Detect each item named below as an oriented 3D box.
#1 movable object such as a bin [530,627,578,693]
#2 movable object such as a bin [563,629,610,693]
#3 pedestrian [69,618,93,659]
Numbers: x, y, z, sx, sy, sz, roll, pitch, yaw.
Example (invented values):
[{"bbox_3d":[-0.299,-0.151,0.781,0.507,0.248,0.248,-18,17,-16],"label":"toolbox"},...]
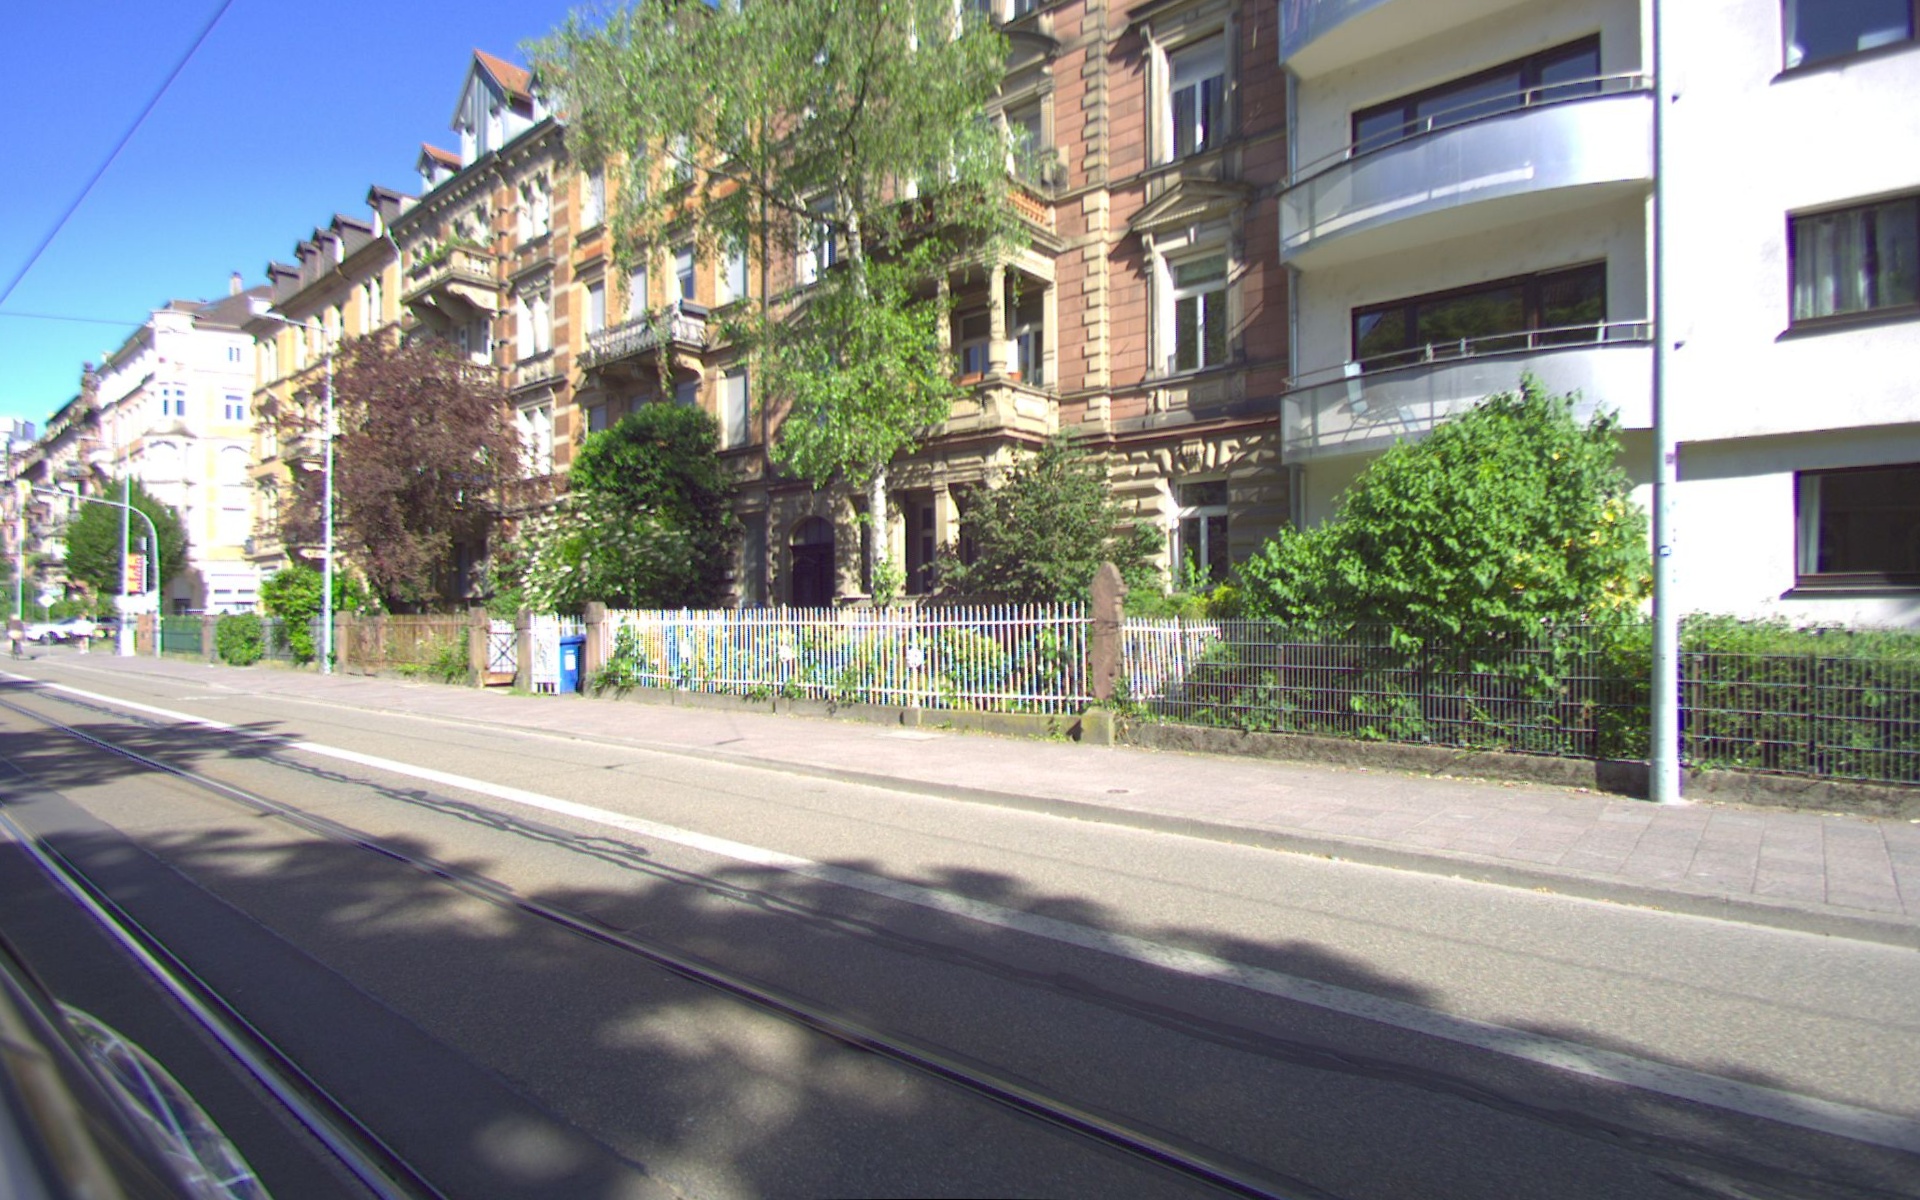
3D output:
[{"bbox_3d":[-7.529,1.097,18.765,0.664,1.184,0.583,-1,-2,36],"label":"movable object such as a bin"},{"bbox_3d":[-7.127,1.146,19.322,0.664,1.184,0.583,-1,-2,36],"label":"movable object such as a bin"},{"bbox_3d":[-39.830,1.727,45.867,0.798,1.850,0.755,1,-2,-41],"label":"pedestrian"}]
